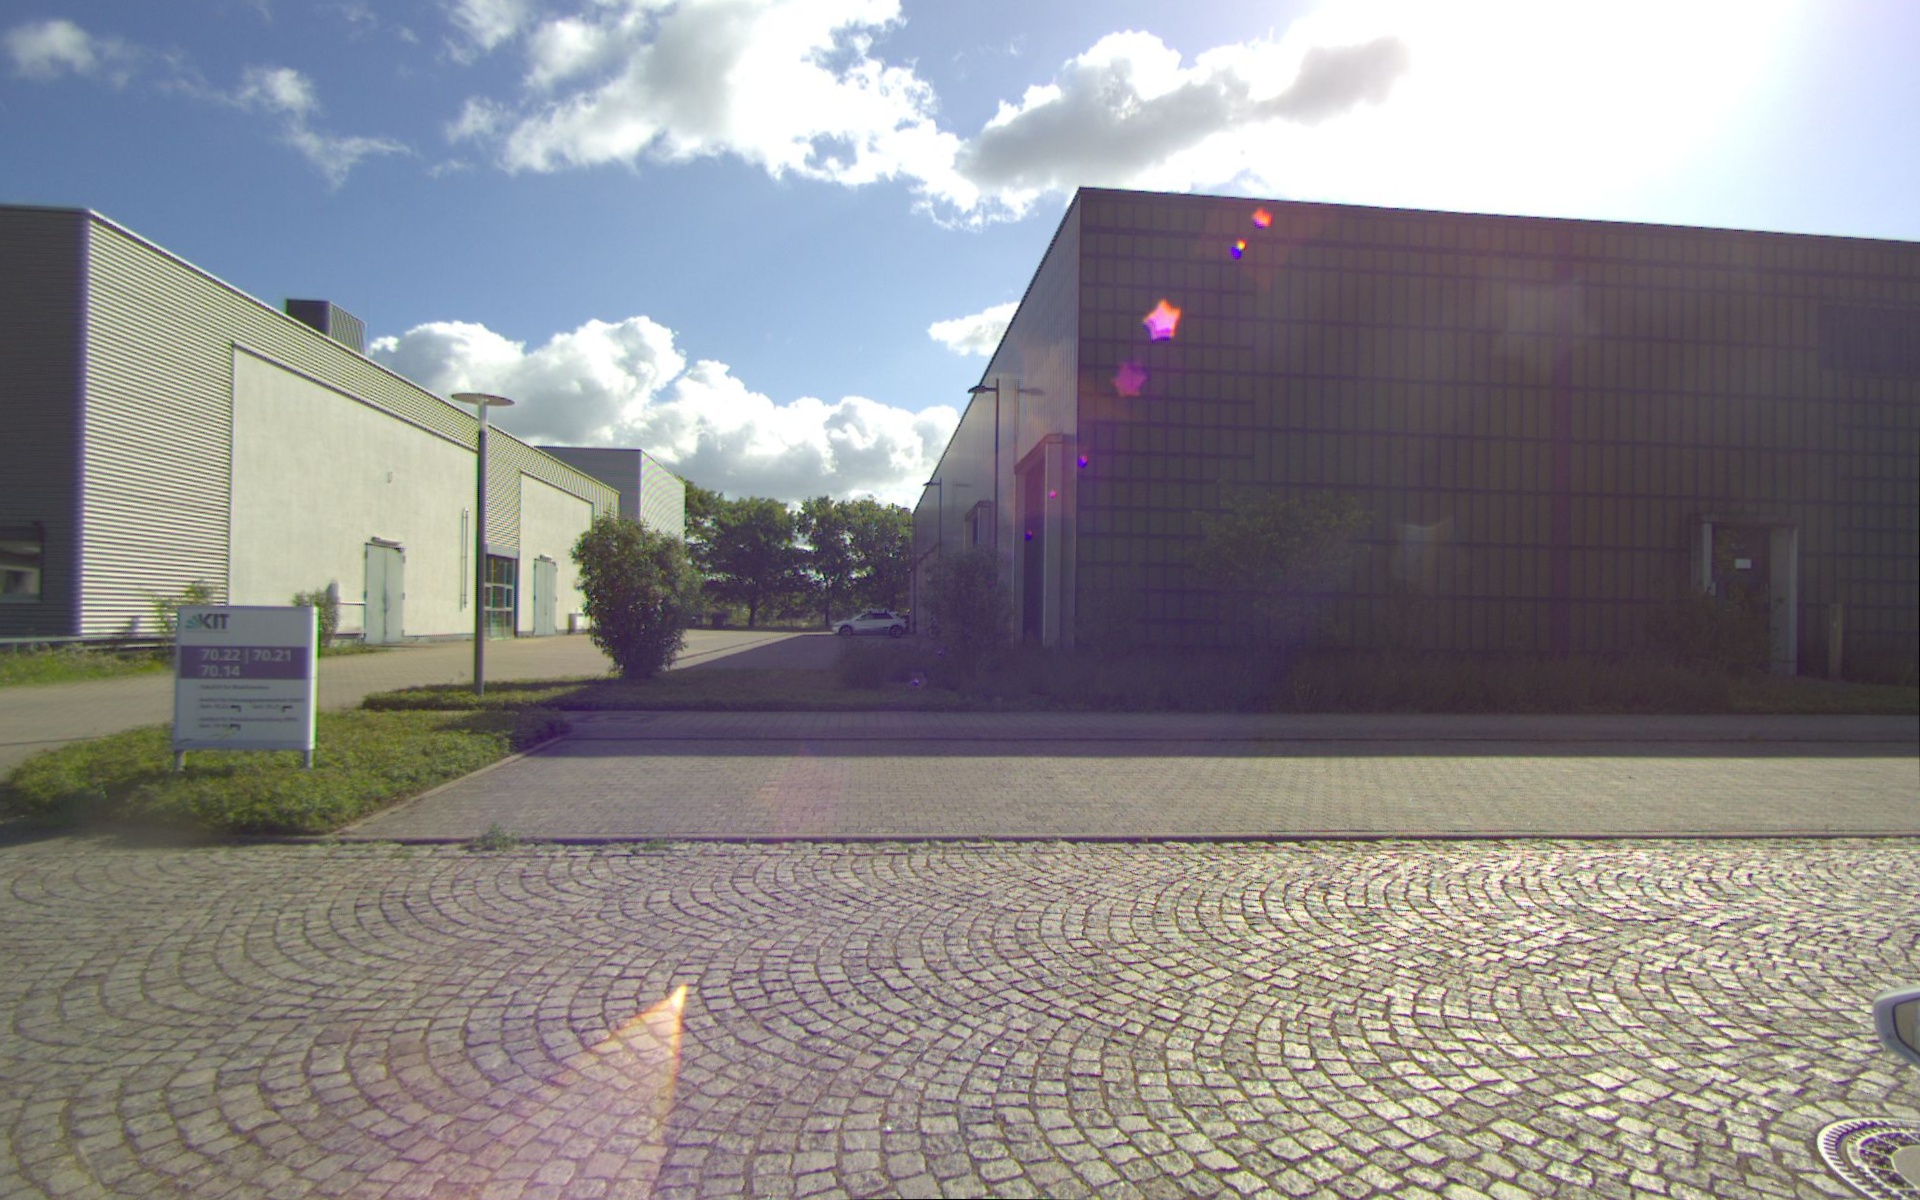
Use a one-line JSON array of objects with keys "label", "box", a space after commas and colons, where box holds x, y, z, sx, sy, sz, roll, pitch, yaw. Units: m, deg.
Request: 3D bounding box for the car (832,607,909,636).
[{"label": "car", "box": [-5.380, 1.294, 60.344, 4.494, 1.685, 1.998, 1, -1, -7]}]
